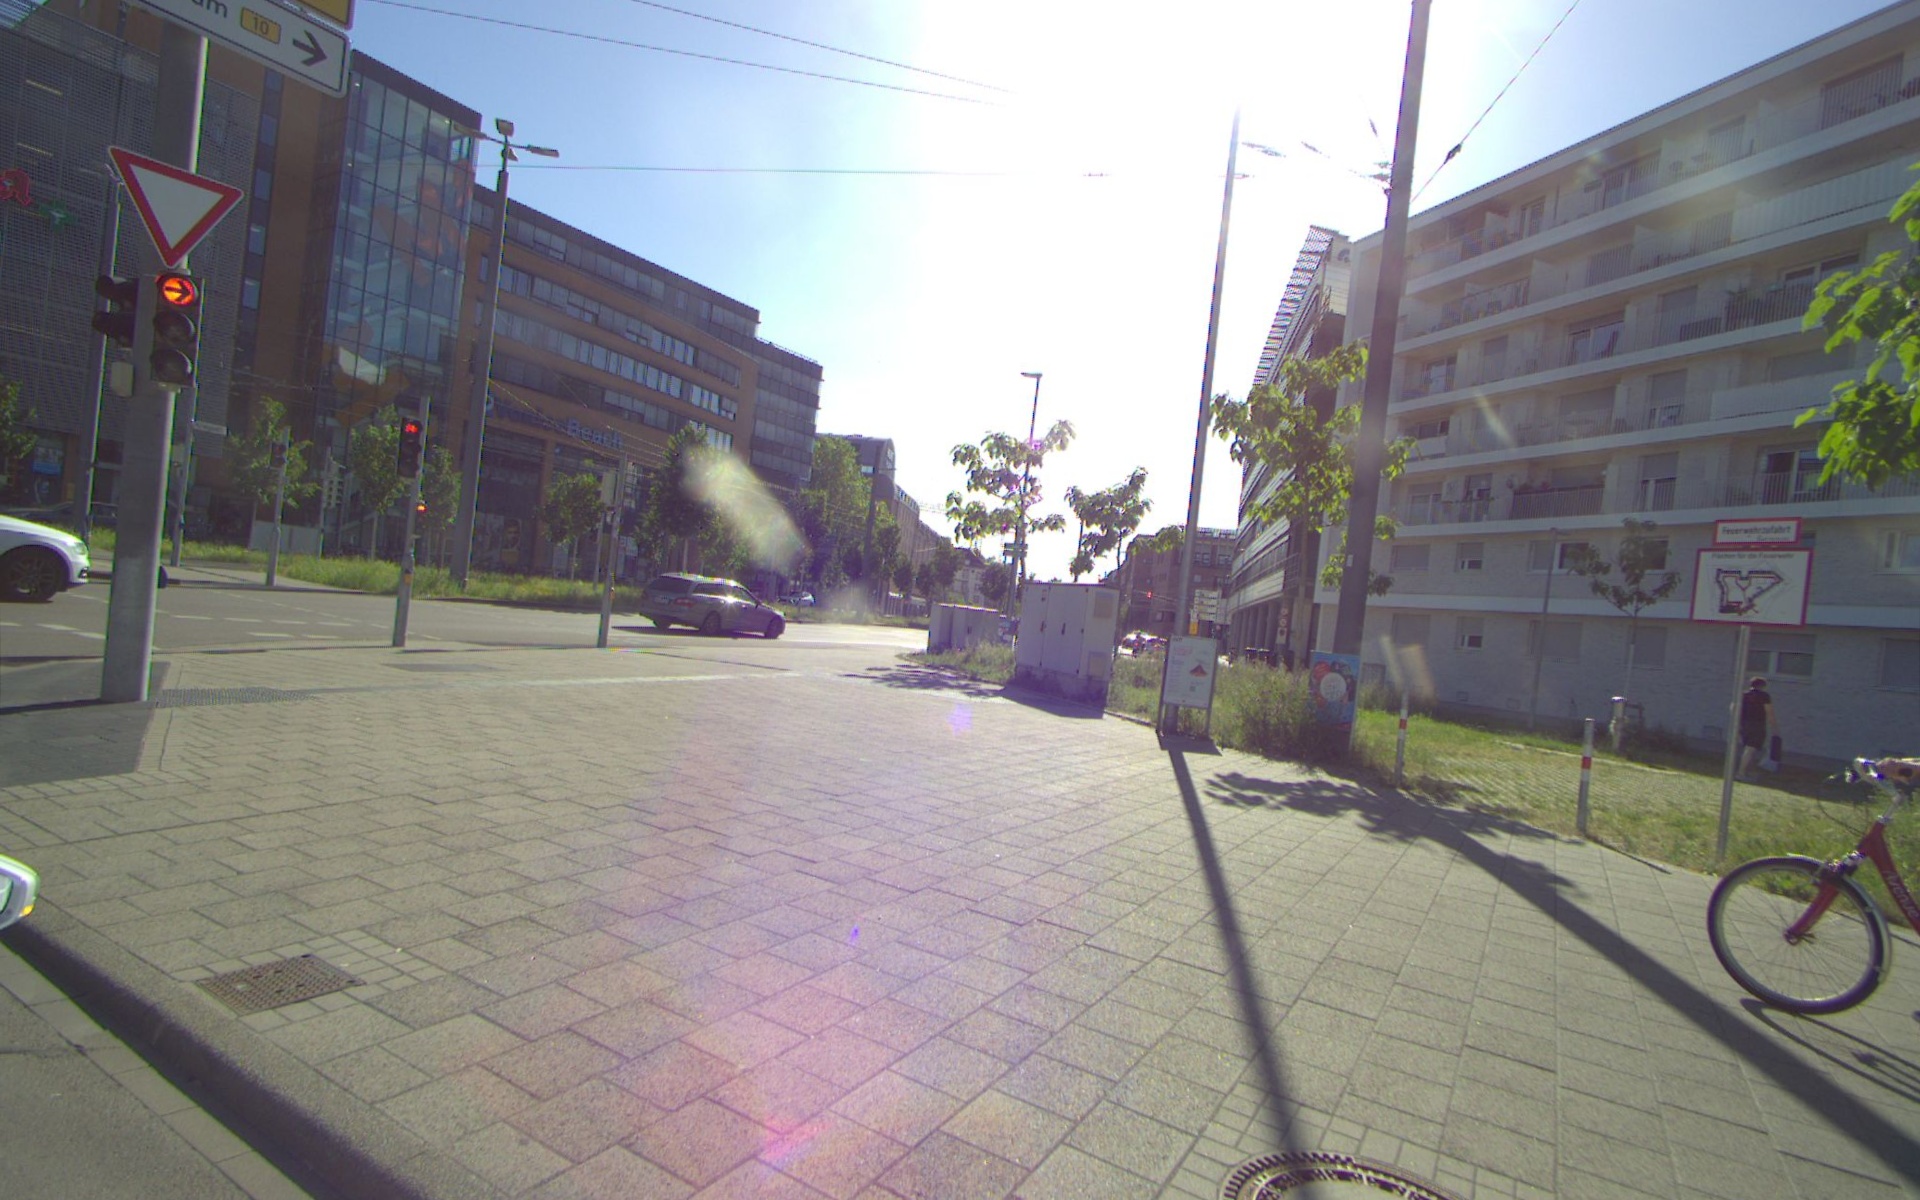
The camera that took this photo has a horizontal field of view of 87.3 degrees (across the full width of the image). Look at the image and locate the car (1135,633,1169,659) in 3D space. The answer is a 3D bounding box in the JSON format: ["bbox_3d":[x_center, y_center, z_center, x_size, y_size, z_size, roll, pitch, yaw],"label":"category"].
[{"bbox_3d":[13.672,3.283,71.459,1.677,1.515,4.281,7,-2,19],"label":"car"}]

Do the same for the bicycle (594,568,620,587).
[{"bbox_3d":[-27.014,-1.718,76.991,0.559,1.232,1.859,9,1,31],"label":"bicycle"}]

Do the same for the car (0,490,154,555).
[{"bbox_3d":[-32.076,-2.768,36.332,1.810,1.484,4.161,6,-5,30],"label":"car"}]

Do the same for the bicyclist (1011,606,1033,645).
[{"bbox_3d":[2.938,1.203,47.332,0.563,1.727,0.885,7,-1,25],"label":"bicyclist"}]

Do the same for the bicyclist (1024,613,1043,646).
[{"bbox_3d":[3.757,1.495,51.155,0.563,1.585,0.886,7,-1,22],"label":"bicyclist"}]

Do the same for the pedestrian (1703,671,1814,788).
[{"bbox_3d":[12.985,2.091,16.379,0.970,1.719,0.842,6,2,-16],"label":"pedestrian"}]

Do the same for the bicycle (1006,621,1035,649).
[{"bbox_3d":[2.841,1.659,47.231,0.571,1.150,1.907,7,-2,25],"label":"bicycle"}]

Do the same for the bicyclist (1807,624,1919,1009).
[{"bbox_3d":[4.073,0.878,3.892,0.662,1.454,0.933,6,0,-30],"label":"bicyclist"}]

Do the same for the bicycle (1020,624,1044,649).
[{"bbox_3d":[3.683,1.874,51.384,0.576,1.150,1.761,7,-2,22],"label":"bicycle"}]

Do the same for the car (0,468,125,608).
[{"bbox_3d":[-13.676,-1.003,12.447,1.902,1.727,4.683,7,-1,23],"label":"car"}]

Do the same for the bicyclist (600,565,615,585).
[{"bbox_3d":[-27.001,-1.917,76.982,0.556,1.404,0.754,9,2,31],"label":"bicyclist"}]

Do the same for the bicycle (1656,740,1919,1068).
[{"bbox_3d":[3.956,1.260,3.949,0.662,1.085,1.805,6,0,-31],"label":"bicycle"}]

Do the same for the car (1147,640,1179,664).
[{"bbox_3d":[15.596,3.976,77.158,1.677,1.515,4.281,7,-2,19],"label":"car"}]

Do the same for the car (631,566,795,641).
[{"bbox_3d":[-6.659,0.179,27.782,1.676,1.591,4.871,7,-1,23],"label":"car"}]

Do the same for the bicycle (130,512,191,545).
[{"bbox_3d":[-40.525,-3.608,51.039,0.595,1.310,2.260,7,-2,30],"label":"bicycle"}]

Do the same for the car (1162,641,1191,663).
[{"bbox_3d":[17.911,4.320,83.267,1.677,1.515,4.281,7,-2,19],"label":"car"}]

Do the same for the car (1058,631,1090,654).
[{"bbox_3d":[9.646,3.620,85.213,1.616,1.665,4.200,7,-1,20],"label":"car"}]

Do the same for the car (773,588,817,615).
[{"bbox_3d":[-14.228,0.160,87.015,1.806,1.885,4.343,6,-1,17],"label":"car"}]
